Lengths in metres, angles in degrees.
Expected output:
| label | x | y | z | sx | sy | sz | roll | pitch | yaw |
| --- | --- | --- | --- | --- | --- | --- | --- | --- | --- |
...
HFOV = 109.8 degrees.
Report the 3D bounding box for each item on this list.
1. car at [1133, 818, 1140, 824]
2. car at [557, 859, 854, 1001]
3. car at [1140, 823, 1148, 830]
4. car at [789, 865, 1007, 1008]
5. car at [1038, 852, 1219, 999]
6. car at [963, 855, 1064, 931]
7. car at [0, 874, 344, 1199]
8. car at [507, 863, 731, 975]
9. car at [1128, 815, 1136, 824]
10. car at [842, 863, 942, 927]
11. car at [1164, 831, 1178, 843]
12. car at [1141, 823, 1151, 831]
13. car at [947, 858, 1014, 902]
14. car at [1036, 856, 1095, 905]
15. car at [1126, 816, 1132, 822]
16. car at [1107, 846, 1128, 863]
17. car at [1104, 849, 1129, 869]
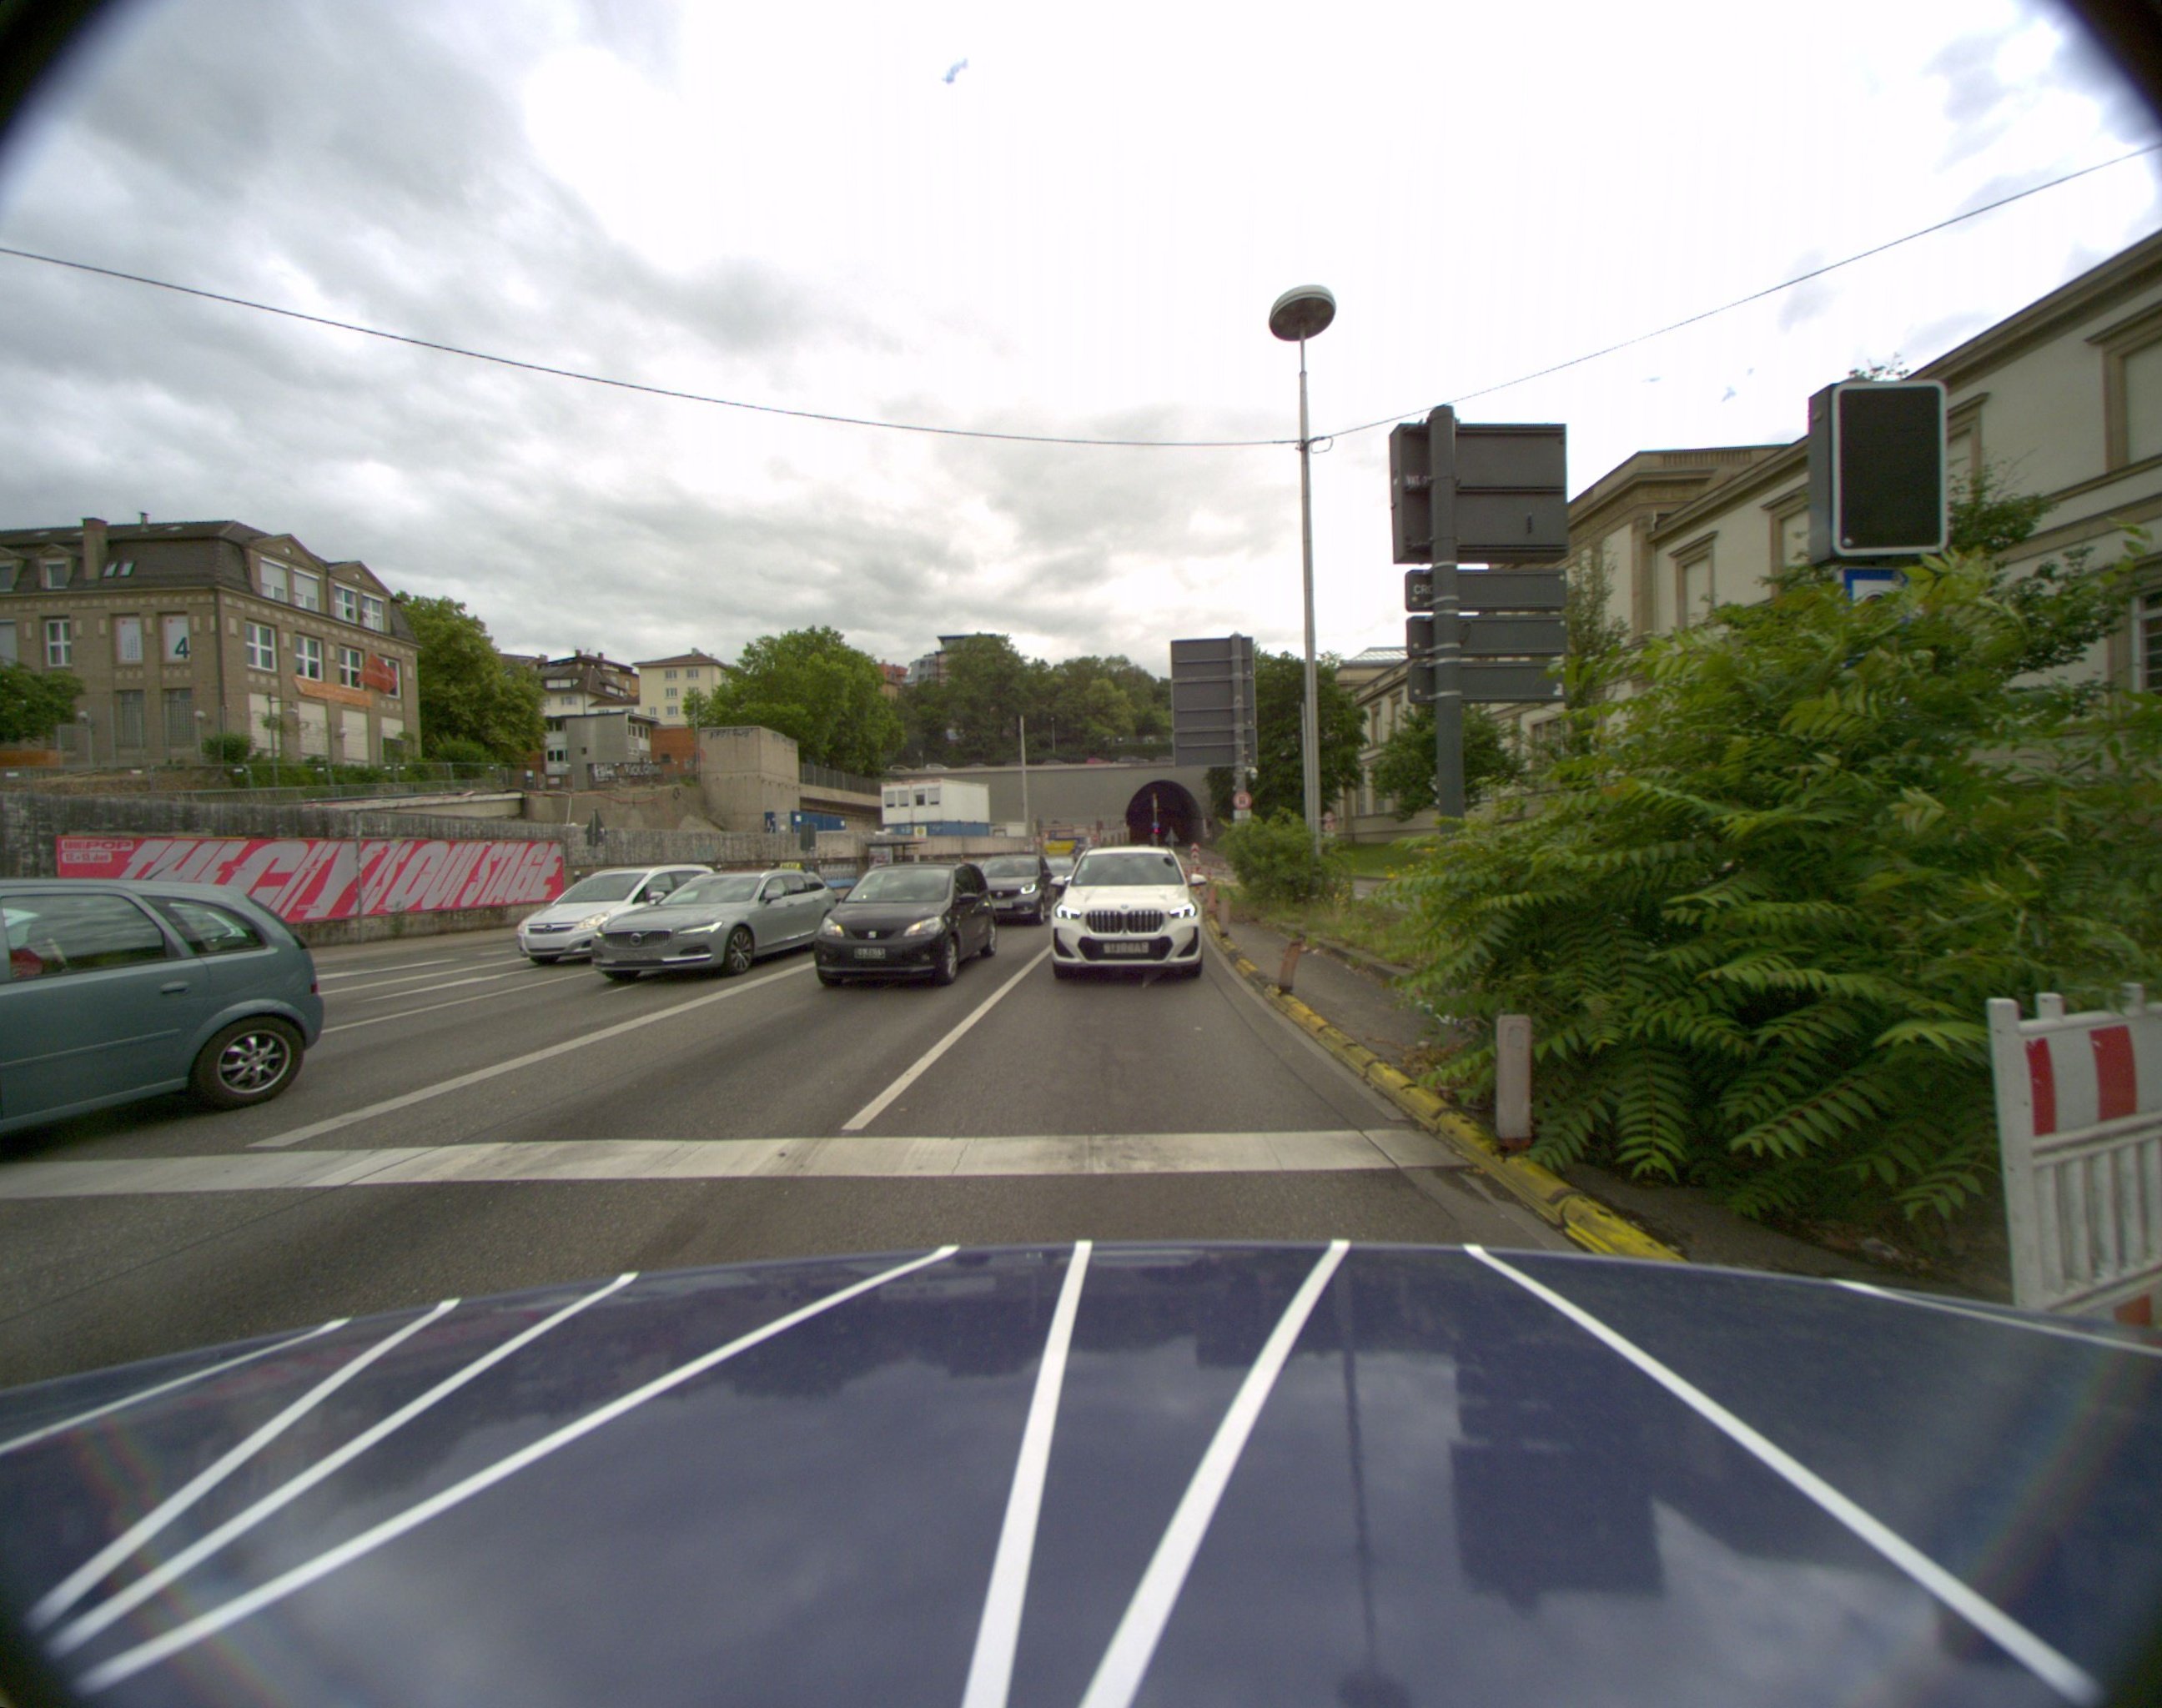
| label | x | y | z | sx | sy | sz | roll | pitch | yaw |
| --- | --- | --- | --- | --- | --- | --- | --- | --- | --- |
| car | 14.960 | -8.891 | 205.073 | 1.778 | 1.609 | 3.803 | -1 | 1 | 2 |
| car | -5.374 | 0.960 | 11.809 | 1.828 | 1.616 | 4.809 | -1 | 1 | 5 |
| car | 15.310 | -6.667 | 184.764 | 1.903 | 1.615 | 4.108 | -1 | 0 | 3 |
| car | -2.228 | 0.952 | 10.353 | 1.828 | 1.450 | 3.700 | -1 | 1 | 4 |
| car | 0.649 | 0.803 | 10.355 | 1.987 | 1.615 | 3.671 | -1 | 0 | 4 |
| car | -1.462 | 0.824 | 17.717 | 1.720 | 1.535 | 3.575 | -1 | 0 | 5 |
| car | -6.509 | 1.014 | 3.720 | 1.680 | 1.616 | 4.000 | -1 | 1 | 4 |
| car | -8.487 | 1.091 | 14.490 | 1.680 | 1.616 | 4.208 | -3 | 1 | -2 |
| car | 15.371 | -10.415 | 229.249 | 2.203 | 2.493 | 4.759 | -1 | 1 | 5 |
| car | -4.797 | 1.005 | 19.586 | 1.665 | 1.423 | 2.714 | -1 | 1 | 5 |
| car | 13.657 | -2.639 | 115.737 | 1.836 | 1.736 | 4.000 | -1 | 1 | 4 |
| car | 14.449 | -5.942 | 168.986 | 1.903 | 1.615 | 4.108 | -1 | 0 | 3 |
| car | -3.587 | 0.892 | 27.709 | 1.680 | 1.358 | 3.807 | -1 | 1 | 4 |
| car | -0.448 | 0.846 | 26.051 | 1.680 | 1.450 | 3.807 | -1 | 1 | 4 |
| car | 16.122 | -11.676 | 255.384 | 1.946 | 1.714 | 4.001 | -1 | 1 | 7 |
| car | 3.233 | 0.046 | 66.758 | 1.680 | 1.358 | 3.807 | -1 | 1 | 4 |
| car | 2.581 | 0.327 | 54.675 | 1.680 | 1.358 | 3.807 | -1 | 1 | 4 |
